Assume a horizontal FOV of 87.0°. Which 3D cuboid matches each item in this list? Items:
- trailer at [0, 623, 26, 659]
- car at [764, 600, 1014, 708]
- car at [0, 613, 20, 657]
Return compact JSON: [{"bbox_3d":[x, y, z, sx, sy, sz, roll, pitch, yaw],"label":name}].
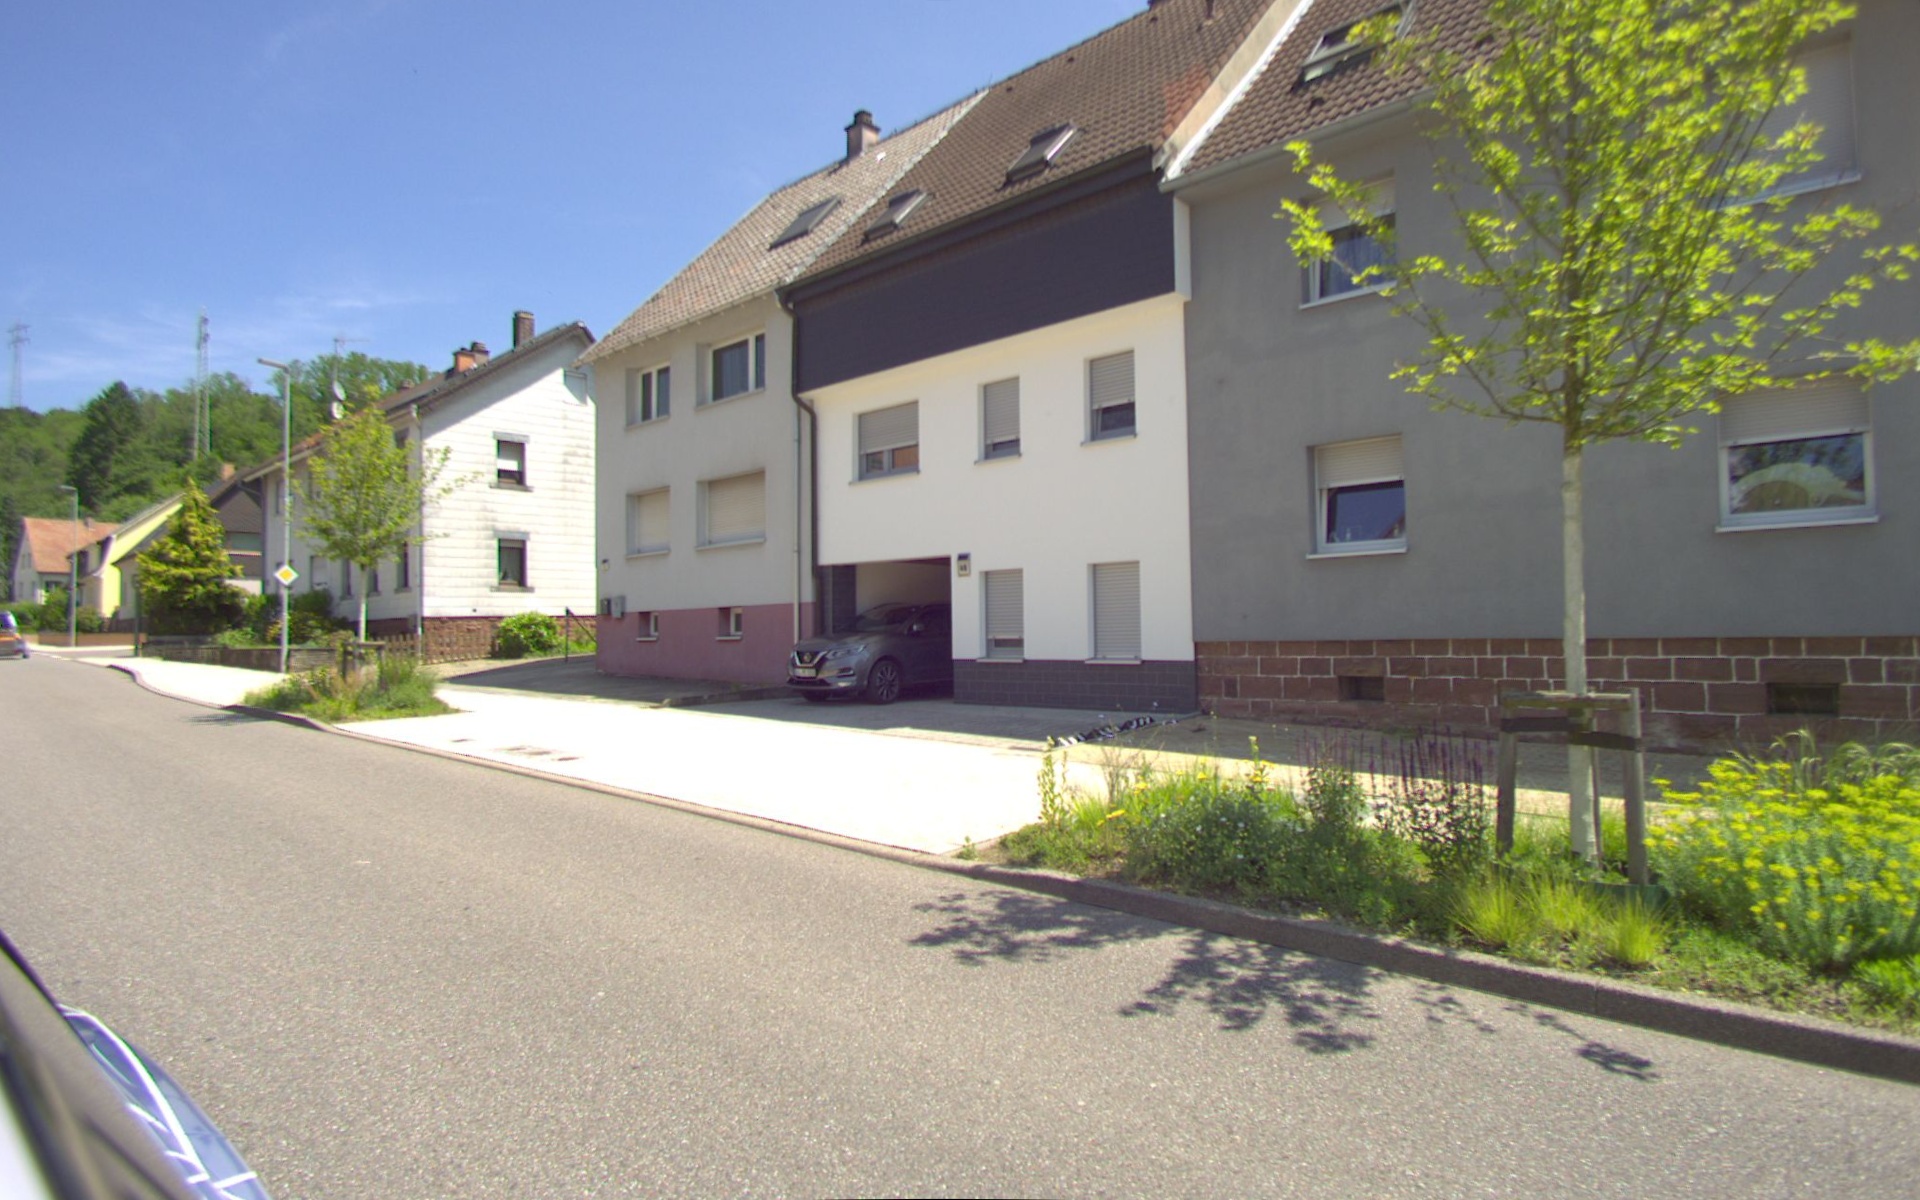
[{"bbox_3d":[-39.282,1.657,41.212,4.404,1.406,1.557,-2,-2,44],"label":"trailer"},{"bbox_3d":[-1.066,0.799,16.653,1.832,1.557,3.944,-2,-1,42],"label":"car"},{"bbox_3d":[-42.259,1.518,43.889,4.578,1.875,1.868,-2,-2,44],"label":"car"}]
